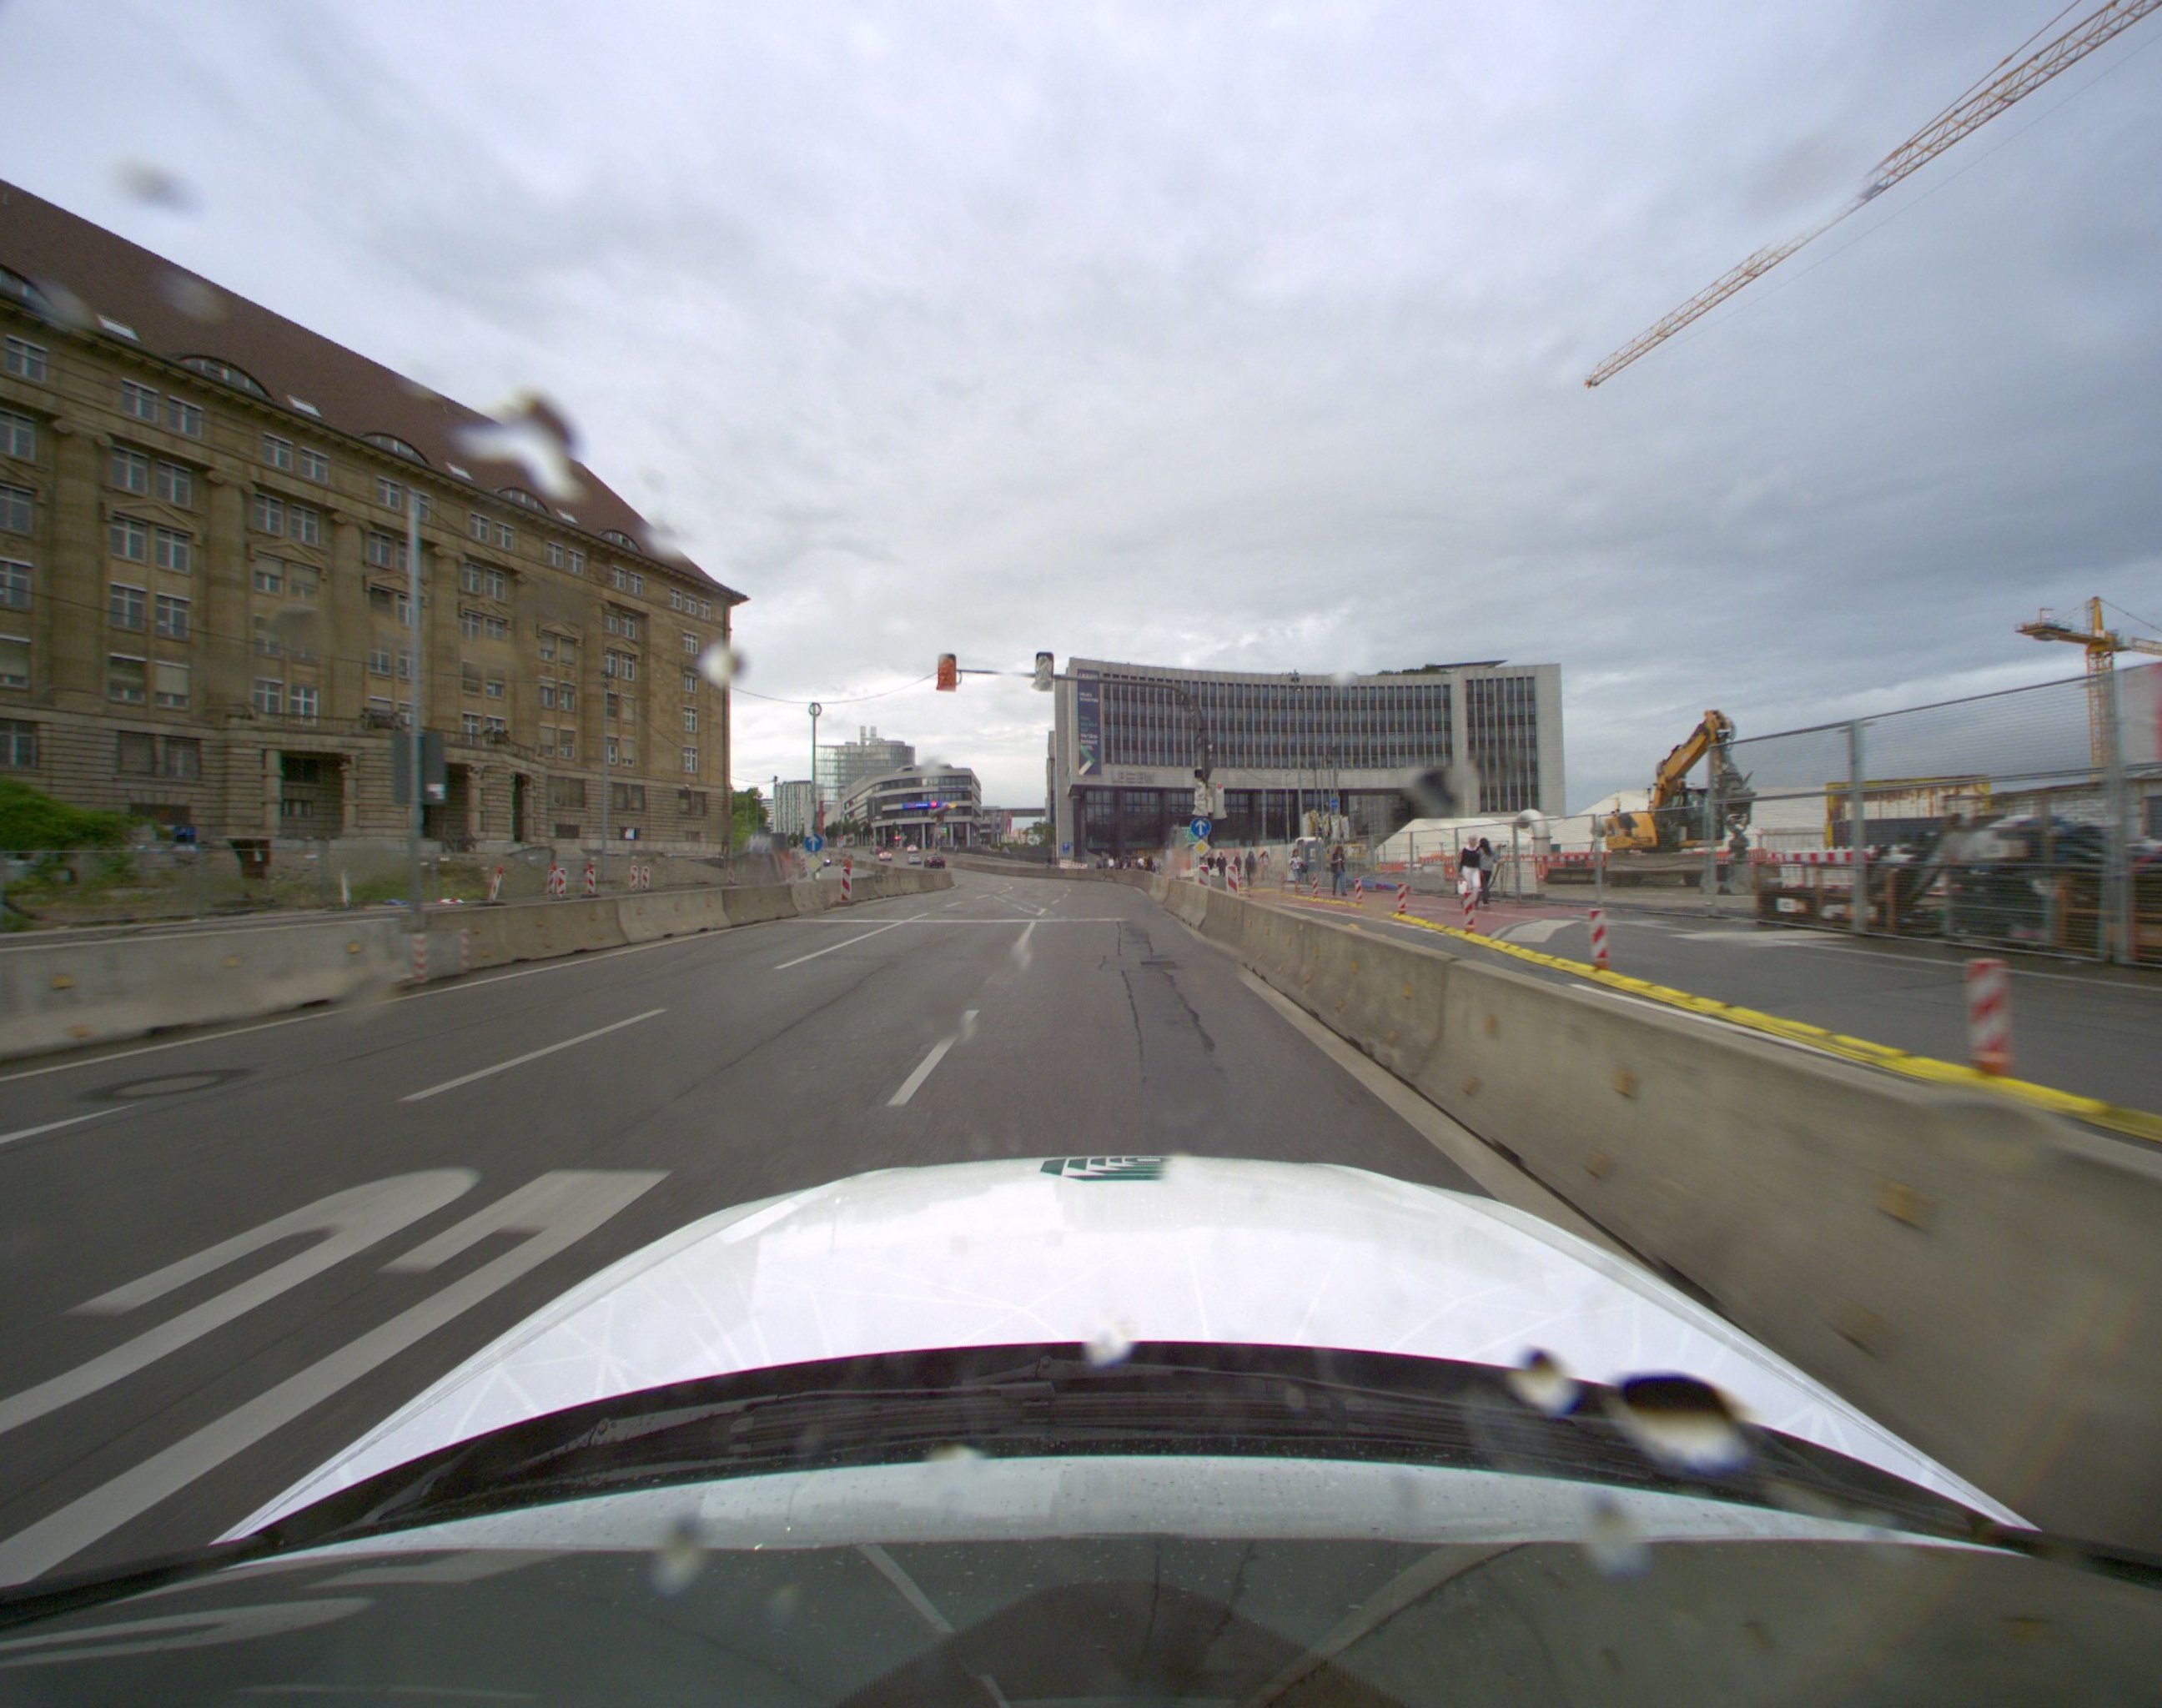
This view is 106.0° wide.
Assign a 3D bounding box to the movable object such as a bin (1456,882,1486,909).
[{"bbox_3d":[9.290,0.978,19.425,0.432,0.624,0.534,0,-1,-4],"label":"movable object such as a bin"}]

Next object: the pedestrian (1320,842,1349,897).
[{"bbox_3d":[8.686,0.519,27.909,0.688,1.862,0.810,0,-1,-4],"label":"pedestrian"}]

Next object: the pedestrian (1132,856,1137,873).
[{"bbox_3d":[5.508,1.086,84.266,0.445,1.705,0.648,0,0,9],"label":"pedestrian"}]

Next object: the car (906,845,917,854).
[{"bbox_3d":[-32.768,-0.866,157.379,1.996,1.804,4.245,0,0,-14],"label":"car"}]

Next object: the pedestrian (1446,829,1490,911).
[{"bbox_3d":[8.957,0.357,18.881,0.663,1.862,0.682,0,-1,-4],"label":"pedestrian"}]

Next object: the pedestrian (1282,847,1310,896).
[{"bbox_3d":[8.298,0.663,31.442,0.777,1.862,0.948,0,-1,-4],"label":"pedestrian"}]

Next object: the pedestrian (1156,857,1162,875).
[{"bbox_3d":[7.697,1.178,80.208,0.447,1.705,0.646,0,0,-1],"label":"pedestrian"}]

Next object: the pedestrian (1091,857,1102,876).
[{"bbox_3d":[1.346,1.055,69.799,0.751,1.642,0.820,0,-1,-12],"label":"pedestrian"}]

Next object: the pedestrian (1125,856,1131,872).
[{"bbox_3d":[4.901,1.046,84.948,0.447,1.705,0.645,0,0,-6],"label":"pedestrian"}]

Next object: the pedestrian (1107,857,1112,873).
[{"bbox_3d":[3.003,1.122,84.611,0.447,1.705,0.646,0,0,-5],"label":"pedestrian"}]

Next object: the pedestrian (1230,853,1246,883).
[{"bbox_3d":[10.025,0.880,51.949,0.777,1.862,0.810,-2,-1,-4],"label":"pedestrian"}]

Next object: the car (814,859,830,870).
[{"bbox_3d":[-33.984,1.390,106.881,1.609,1.352,3.722,1,-3,-25],"label":"car"}]

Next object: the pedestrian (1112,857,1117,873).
[{"bbox_3d":[3.492,1.153,84.653,0.447,1.705,0.646,0,0,-5],"label":"pedestrian"}]

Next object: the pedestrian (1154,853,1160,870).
[{"bbox_3d":[7.617,0.779,81.913,0.499,1.705,0.732,0,0,-1],"label":"pedestrian"}]

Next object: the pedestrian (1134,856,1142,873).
[{"bbox_3d":[5.798,1.071,83.168,0.515,1.705,0.568,0,0,-37],"label":"pedestrian"}]

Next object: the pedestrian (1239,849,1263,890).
[{"bbox_3d":[7.958,0.725,38.246,0.868,1.862,0.947,0,-1,-4],"label":"pedestrian"}]

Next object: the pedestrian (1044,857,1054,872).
[{"bbox_3d":[-3.735,1.216,95.040,0.759,1.790,1.050,0,-1,-21],"label":"pedestrian"}]

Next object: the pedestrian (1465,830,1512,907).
[{"bbox_3d":[10.118,0.356,20.250,0.785,1.862,0.682,0,-1,-4],"label":"pedestrian"}]

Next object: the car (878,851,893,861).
[{"bbox_3d":[-30.914,0.256,128.728,1.750,1.506,3.722,0,-1,-25],"label":"car"}]

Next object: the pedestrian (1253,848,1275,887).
[{"bbox_3d":[8.773,0.651,39.107,0.777,1.862,1.057,0,-1,-4],"label":"pedestrian"}]

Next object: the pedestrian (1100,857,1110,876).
[{"bbox_3d":[2.037,1.059,69.947,0.659,1.642,0.820,0,-1,-12],"label":"pedestrian"}]

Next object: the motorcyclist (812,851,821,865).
[{"bbox_3d":[-27.661,0.387,85.142,0.802,1.451,0.818,0,-1,-25],"label":"motorcyclist"}]

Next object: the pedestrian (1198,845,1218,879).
[{"bbox_3d":[7.045,0.453,45.252,0.817,1.827,1.110,-1,-1,-2],"label":"pedestrian"}]

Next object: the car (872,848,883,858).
[{"bbox_3d":[-38.251,-0.137,153.266,1.996,1.804,4.245,0,0,-14],"label":"car"}]

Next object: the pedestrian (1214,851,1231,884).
[{"bbox_3d":[8.054,0.776,46.290,0.777,1.862,0.810,0,-1,-4],"label":"pedestrian"}]

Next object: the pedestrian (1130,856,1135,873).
[{"bbox_3d":[5.407,1.105,84.957,0.445,1.705,0.648,0,0,9],"label":"pedestrian"}]

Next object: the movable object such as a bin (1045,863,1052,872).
[{"bbox_3d":[-3.817,1.560,94.327,0.600,0.934,0.736,0,-2,-21],"label":"movable object such as a bin"}]

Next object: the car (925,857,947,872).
[{"bbox_3d":[-16.779,1.224,93.977,1.682,1.508,3.715,1,-3,-24],"label":"car"}]

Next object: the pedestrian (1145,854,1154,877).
[{"bbox_3d":[6.142,0.991,72.677,0.780,2.014,0.864,0,0,7],"label":"pedestrian"}]

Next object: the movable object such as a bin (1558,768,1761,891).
[{"bbox_3d":[18.203,-0.678,26.096,3.901,3.492,4.372,-2,-1,14],"label":"movable object such as a bin"}]

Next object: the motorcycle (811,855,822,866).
[{"bbox_3d":[-27.678,0.687,85.118,0.873,1.148,2.136,0,-1,-25],"label":"motorcycle"}]

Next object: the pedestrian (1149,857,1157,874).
[{"bbox_3d":[7.087,1.154,80.194,0.624,1.705,0.646,0,0,-1],"label":"pedestrian"}]

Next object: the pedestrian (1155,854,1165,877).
[{"bbox_3d":[7.048,1.008,72.600,0.780,2.014,0.864,0,0,7],"label":"pedestrian"}]

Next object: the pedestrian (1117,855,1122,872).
[{"bbox_3d":[3.969,0.967,84.744,0.452,1.705,0.646,0,0,-5],"label":"pedestrian"}]

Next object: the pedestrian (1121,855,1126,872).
[{"bbox_3d":[4.449,0.987,84.798,0.447,1.705,0.646,0,0,-5],"label":"pedestrian"}]

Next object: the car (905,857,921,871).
[{"bbox_3d":[-23.629,1.375,114.554,1.744,1.875,3.753,0,-1,-19],"label":"car"}]

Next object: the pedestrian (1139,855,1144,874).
[{"bbox_3d":[6.070,1.059,81.765,0.527,1.818,0.536,0,-1,0],"label":"pedestrian"}]
